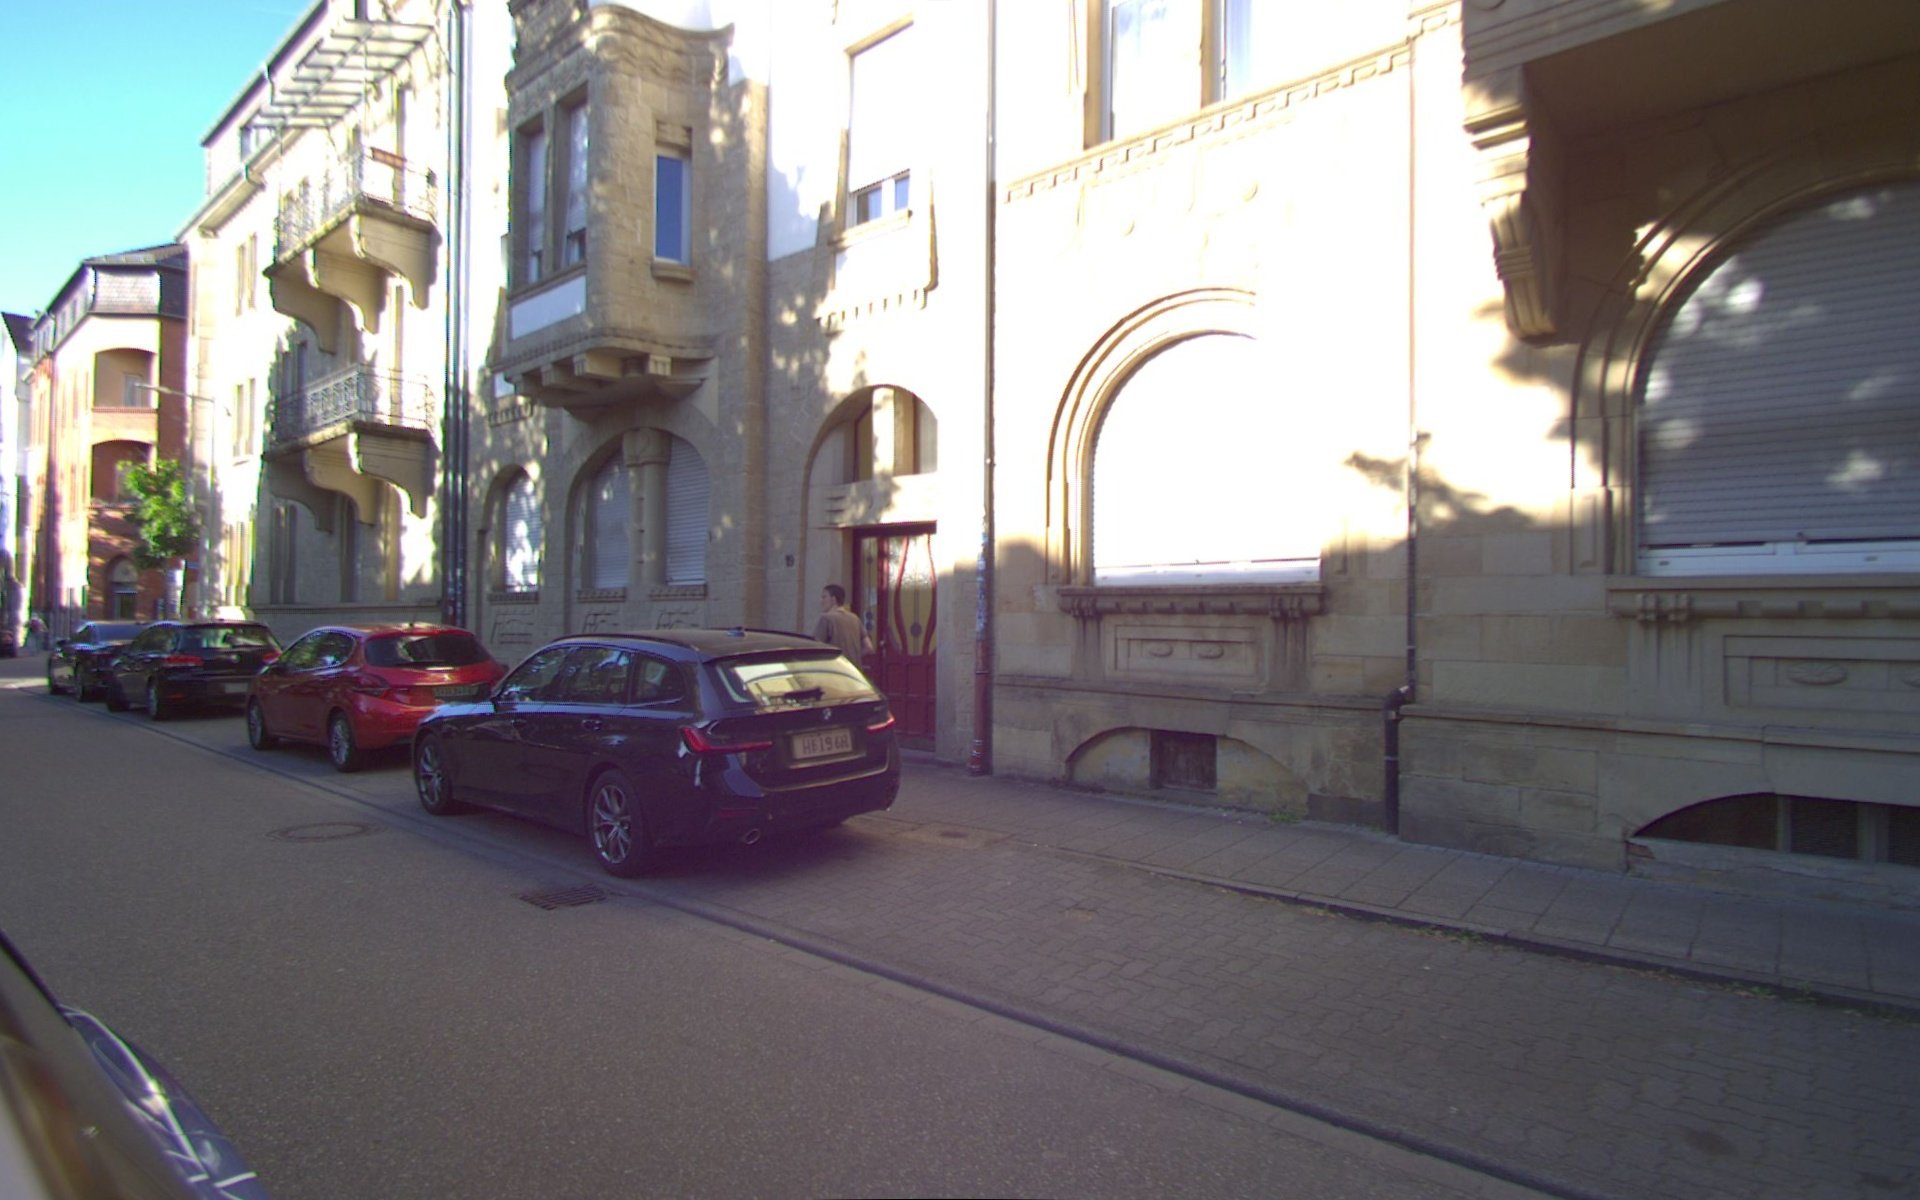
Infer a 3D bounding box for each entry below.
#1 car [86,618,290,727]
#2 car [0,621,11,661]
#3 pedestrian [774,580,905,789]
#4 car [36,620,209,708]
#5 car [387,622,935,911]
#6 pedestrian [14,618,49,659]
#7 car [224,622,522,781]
[{"bbox_3d":[-12.260,1.051,15.994,4.024,1.464,1.679,0,-2,40],"label":"car"},{"bbox_3d":[-36.337,1.504,37.258,4.331,1.421,1.619,-1,0,41],"label":"car"},{"bbox_3d":[-1.076,0.713,9.112,0.734,1.755,0.928,0,-1,41],"label":"pedestrian"},{"bbox_3d":[-16.348,1.149,19.662,4.895,1.437,1.793,-1,0,41],"label":"car"},{"bbox_3d":[-2.415,0.926,7.360,4.548,1.441,1.658,-2,-1,42],"label":"car"},{"bbox_3d":[-36.378,1.494,39.661,1.053,1.589,0.879,1,0,41],"label":"pedestrian"},{"bbox_3d":[-6.630,0.997,11.295,3.833,1.464,1.613,-1,-1,39],"label":"car"}]
